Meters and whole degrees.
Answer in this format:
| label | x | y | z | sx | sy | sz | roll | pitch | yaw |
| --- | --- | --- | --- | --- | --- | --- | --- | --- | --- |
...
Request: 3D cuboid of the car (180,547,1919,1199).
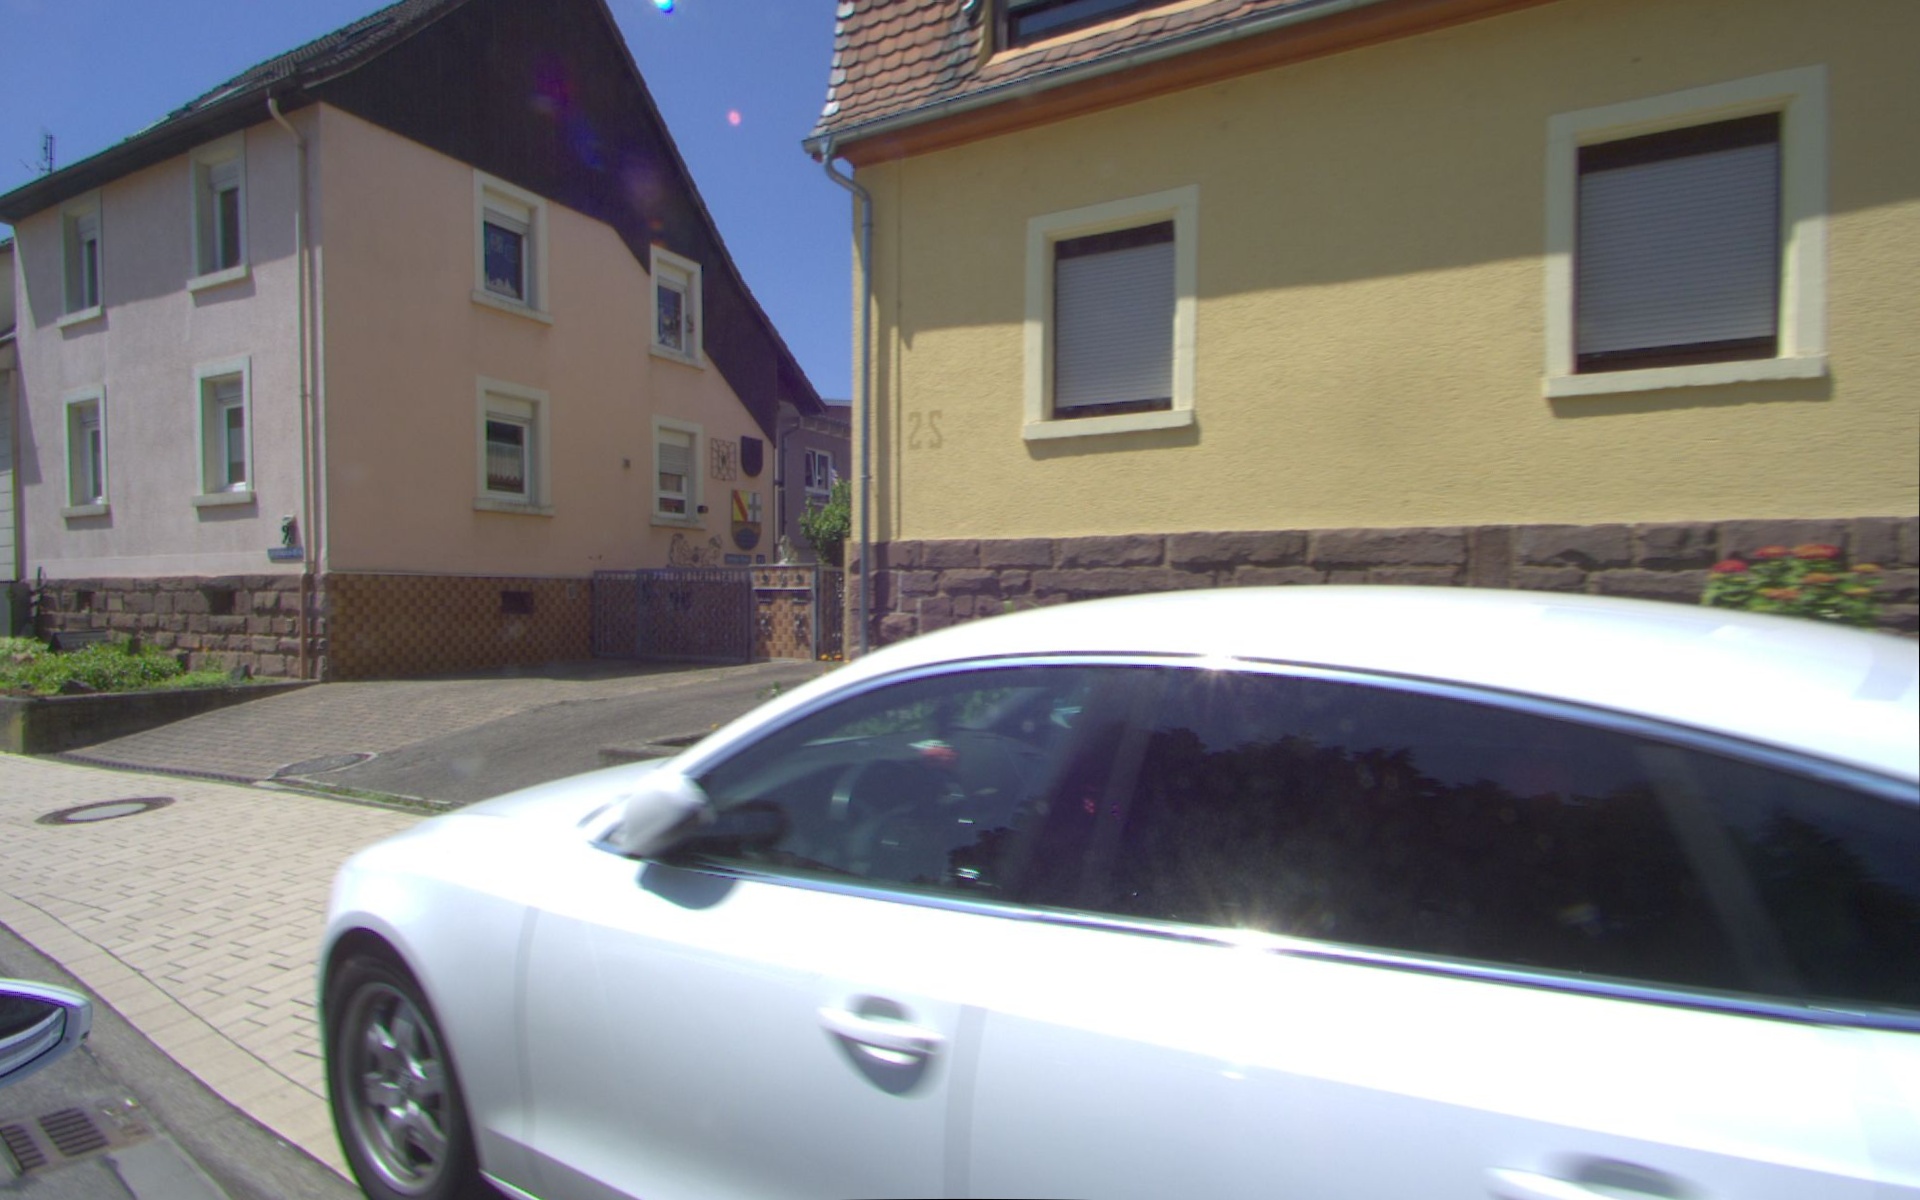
| label | x | y | z | sx | sy | sz | roll | pitch | yaw |
| --- | --- | --- | --- | --- | --- | --- | --- | --- | --- |
| car | 0.322 | 0.675 | 2.121 | 4.570 | 1.437 | 1.751 | -2 | 1 | 34 |
